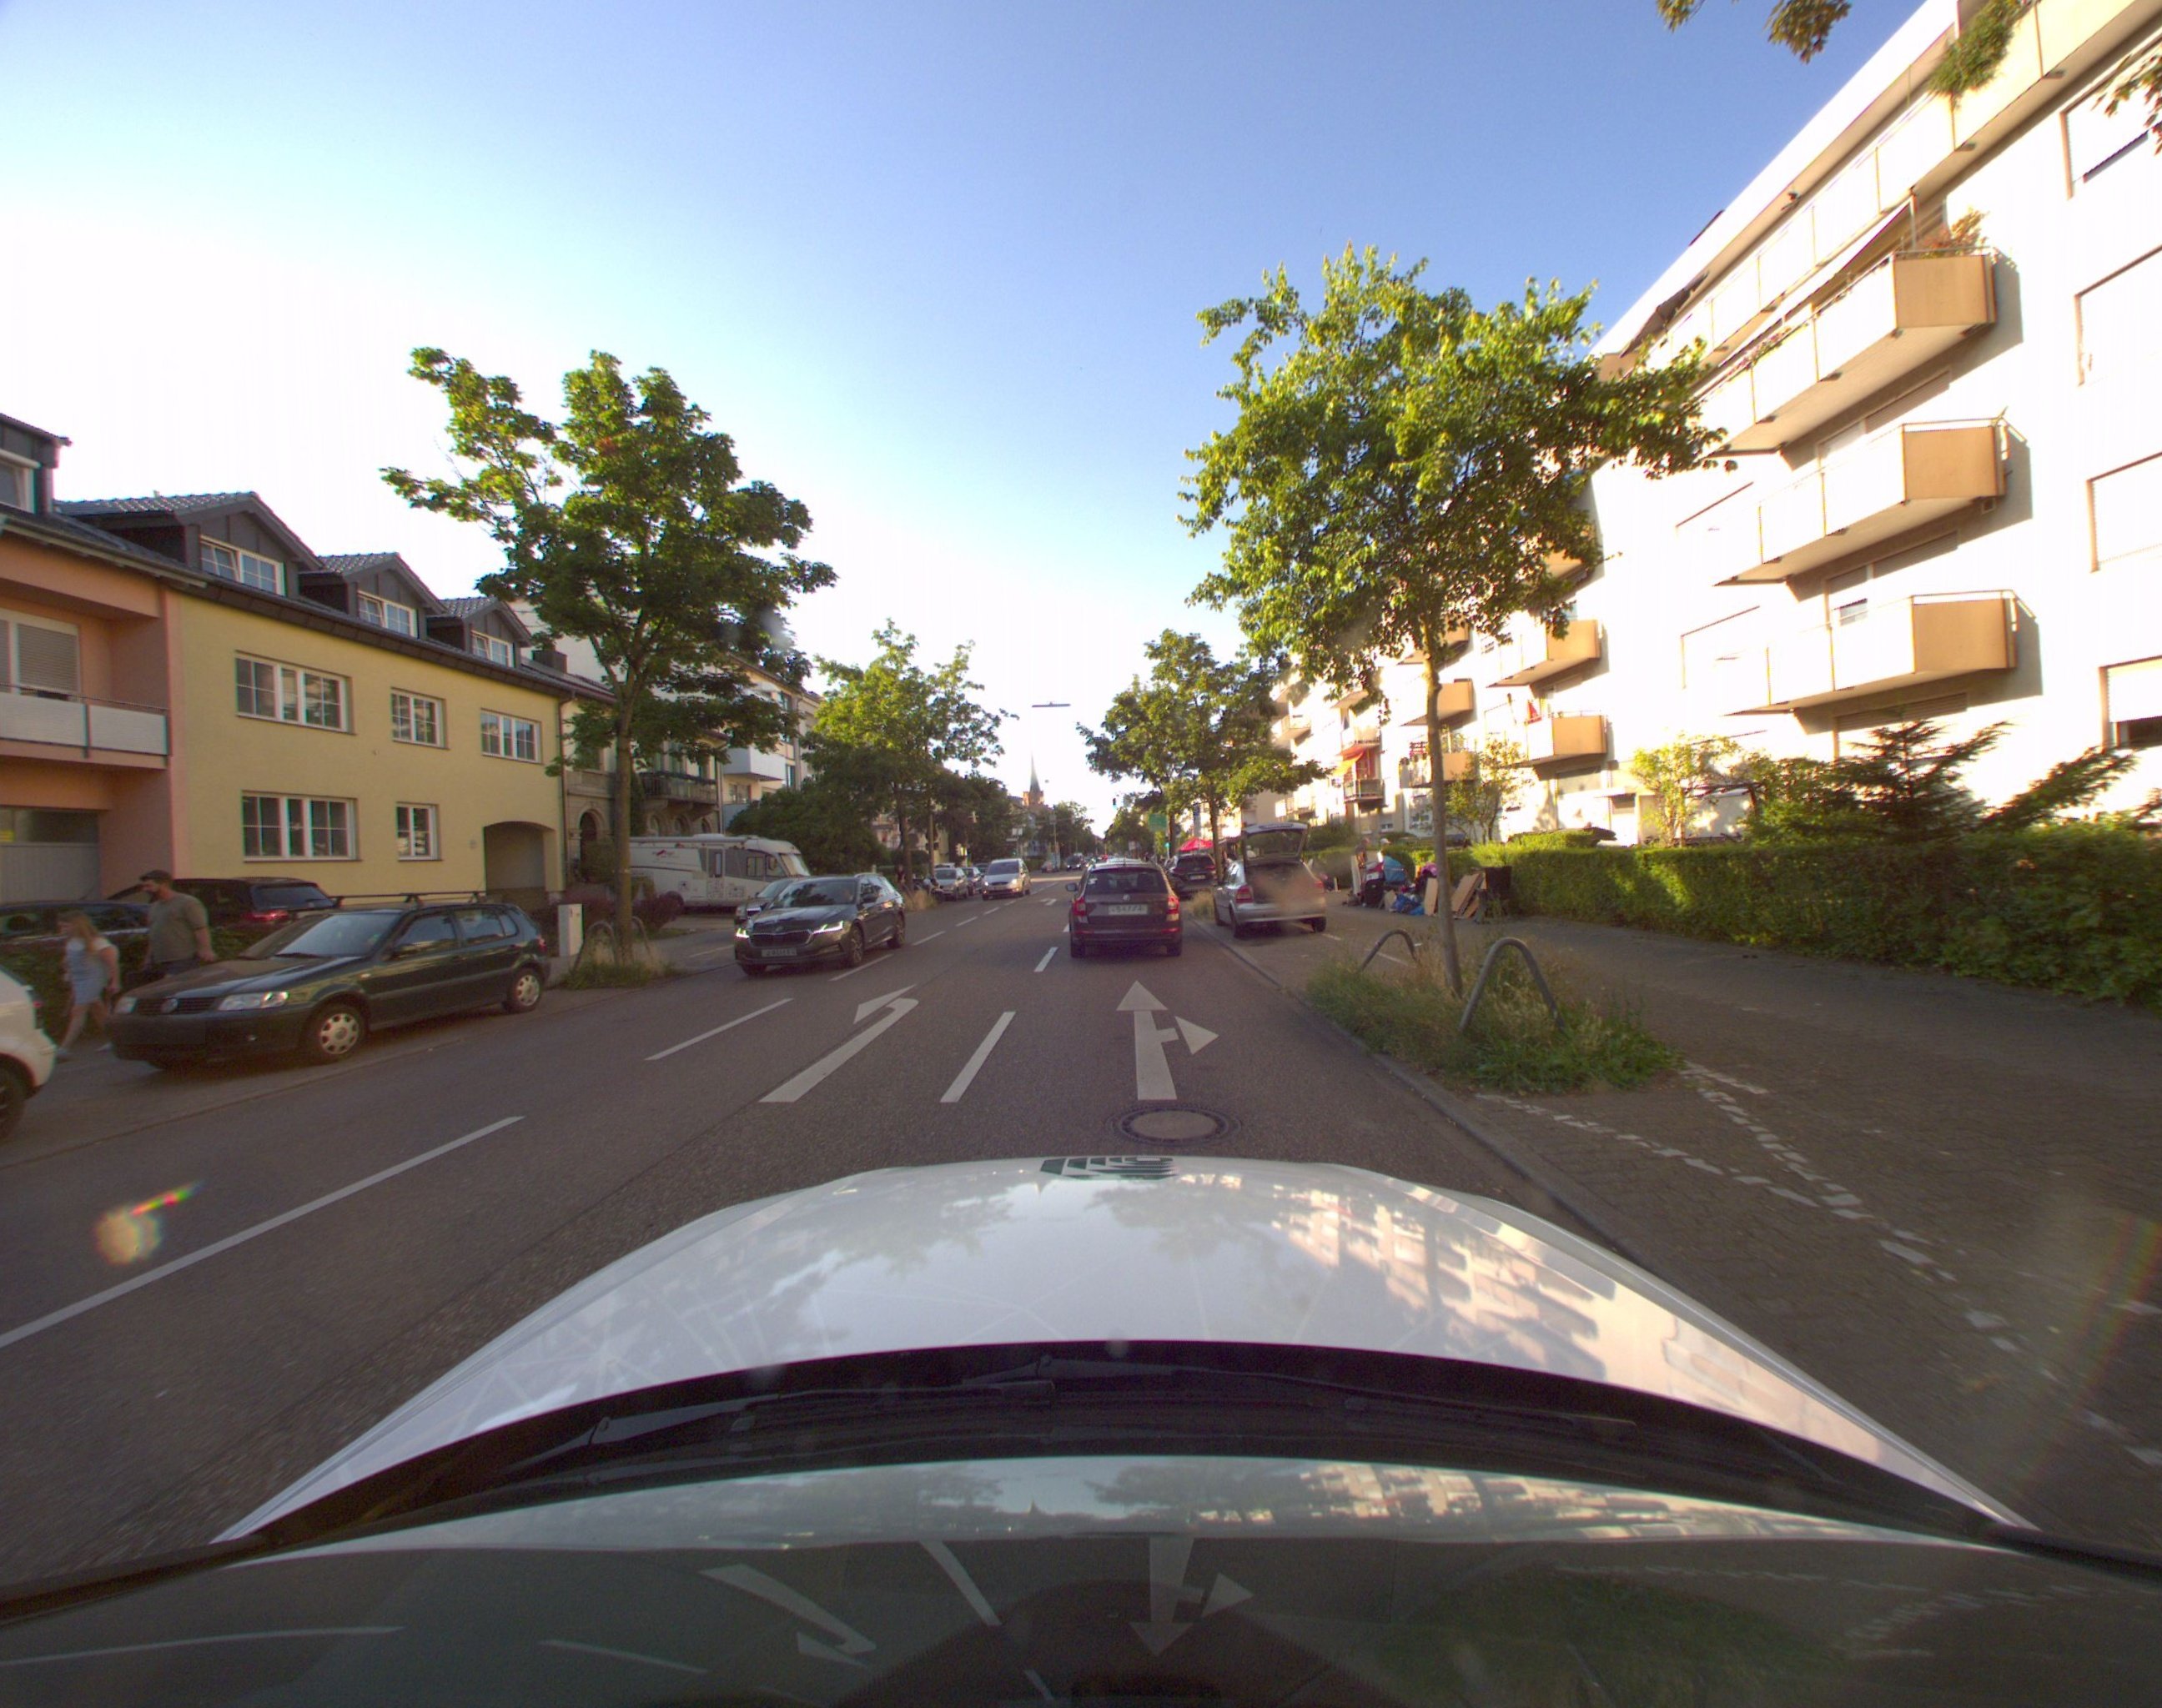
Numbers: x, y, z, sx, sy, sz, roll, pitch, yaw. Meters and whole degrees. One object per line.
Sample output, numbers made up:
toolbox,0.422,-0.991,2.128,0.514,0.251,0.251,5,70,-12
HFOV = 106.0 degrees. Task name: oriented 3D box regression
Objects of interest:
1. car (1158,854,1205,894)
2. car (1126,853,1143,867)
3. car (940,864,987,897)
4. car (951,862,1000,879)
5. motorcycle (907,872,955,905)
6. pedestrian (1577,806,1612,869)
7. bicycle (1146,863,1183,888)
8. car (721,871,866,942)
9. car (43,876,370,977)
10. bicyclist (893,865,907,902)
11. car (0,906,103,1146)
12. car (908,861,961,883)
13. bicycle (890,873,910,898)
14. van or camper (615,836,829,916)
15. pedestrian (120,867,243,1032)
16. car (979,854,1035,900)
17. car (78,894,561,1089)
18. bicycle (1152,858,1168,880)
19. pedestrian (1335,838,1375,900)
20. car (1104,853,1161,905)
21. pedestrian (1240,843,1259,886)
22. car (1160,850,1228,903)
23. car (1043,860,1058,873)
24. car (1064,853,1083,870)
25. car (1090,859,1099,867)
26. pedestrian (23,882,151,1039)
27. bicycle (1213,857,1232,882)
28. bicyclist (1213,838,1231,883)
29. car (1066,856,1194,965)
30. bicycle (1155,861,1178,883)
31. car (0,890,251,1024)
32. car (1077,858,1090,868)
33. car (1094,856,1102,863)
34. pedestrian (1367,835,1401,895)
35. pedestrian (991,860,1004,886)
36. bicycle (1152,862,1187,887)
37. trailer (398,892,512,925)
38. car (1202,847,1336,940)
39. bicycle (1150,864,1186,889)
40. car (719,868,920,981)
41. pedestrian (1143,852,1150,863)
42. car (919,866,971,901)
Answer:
car,4.174,0.791,34.236,1.696,1.450,4.018,-4,0,4
car,6.860,0.726,103.671,1.984,1.772,4.005,-1,0,5
car,-6.002,1.323,41.953,1.642,1.517,4.076,-1,0,2
car,-10.831,1.696,83.749,4.617,1.535,1.862,-2,-1,1
motorcycle,-6.200,1.437,33.612,2.028,1.265,0.772,-3,-1,40
pedestrian,13.705,-0.445,21.743,0.475,1.640,0.533,-3,-1,-17
bicycle,4.496,1.144,43.863,1.824,1.157,0.685,-5,-1,8
car,-7.018,1.225,20.462,1.860,1.494,4.520,-1,0,2
car,-15.644,1.254,14.730,3.970,1.636,1.867,-1,0,3
bicyclist,-8.264,1.354,37.192,0.467,1.663,0.552,-3,-1,1
car,-7.866,1.159,3.893,1.587,1.523,3.891,-3,0,1
car,-13.980,1.713,77.994,4.617,1.812,1.862,-3,-1,1
bicycle,-8.262,1.445,37.120,0.484,1.064,1.535,-3,-1,2
van or camper,-13.033,0.777,29.898,6.773,2.773,2.352,0,-1,1
pedestrian,-10.240,1.063,9.287,0.710,1.792,0.572,-3,-1,4
car,-3.272,0.995,36.833,1.799,1.804,4.747,-4,-1,2
car,-7.517,1.234,8.615,1.537,1.396,3.667,-3,0,2
bicycle,4.475,0.850,46.082,0.501,1.147,1.956,-5,-1,-4
pedestrian,7.422,0.397,22.061,0.748,1.640,0.700,-3,-1,38
car,1.672,0.784,26.826,1.729,1.571,4.003,-1,0,3
pedestrian,7.231,0.443,34.959,0.659,1.749,0.774,-4,-1,8
car,3.889,0.741,28.657,1.849,1.581,4.015,-4,0,2
car,-3.699,1.536,99.689,1.516,1.457,3.587,-3,0,2
car,-0.889,0.970,101.977,1.986,1.908,4.966,-5,0,2
car,2.711,1.728,163.677,1.780,1.571,4.003,-1,0,3
pedestrian,-10.035,1.055,8.233,0.587,1.496,0.543,-3,-1,4
bicycle,5.813,0.624,33.515,0.514,0.987,1.832,-3,0,2
bicyclist,5.801,0.258,33.540,0.579,1.789,0.852,-3,0,2
car,0.756,0.811,13.638,1.766,1.489,4.312,-2,0,2
bicycle,4.436,0.933,42.189,0.613,1.051,1.583,-3,-1,28
car,-13.050,1.277,10.011,1.657,1.409,3.756,-4,0,3
car,0.445,1.460,134.894,1.823,1.579,4.002,-3,0,2
car,4.928,1.488,231.418,1.986,2.013,4.002,-3,0,2
pedestrian,7.995,0.288,21.486,0.586,1.540,0.700,-3,-1,38
pedestrian,-6.435,1.459,62.941,0.777,1.987,0.821,-3,-1,2
bicycle,4.125,0.941,37.940,1.564,1.104,0.392,-3,-1,2
trailer,-20.155,1.741,26.287,2.395,0.960,1.628,0,0,2
car,3.579,0.702,16.279,1.702,1.480,4.270,-5,0,2
bicycle,4.387,1.129,40.904,1.677,1.107,0.518,-5,-1,8
car,-4.271,1.069,14.155,1.754,1.452,4.536,-5,0,2
pedestrian,10.132,0.538,125.458,0.668,1.704,0.806,-3,-1,28
car,-6.186,1.325,37.325,1.587,1.470,3.805,-1,0,2
